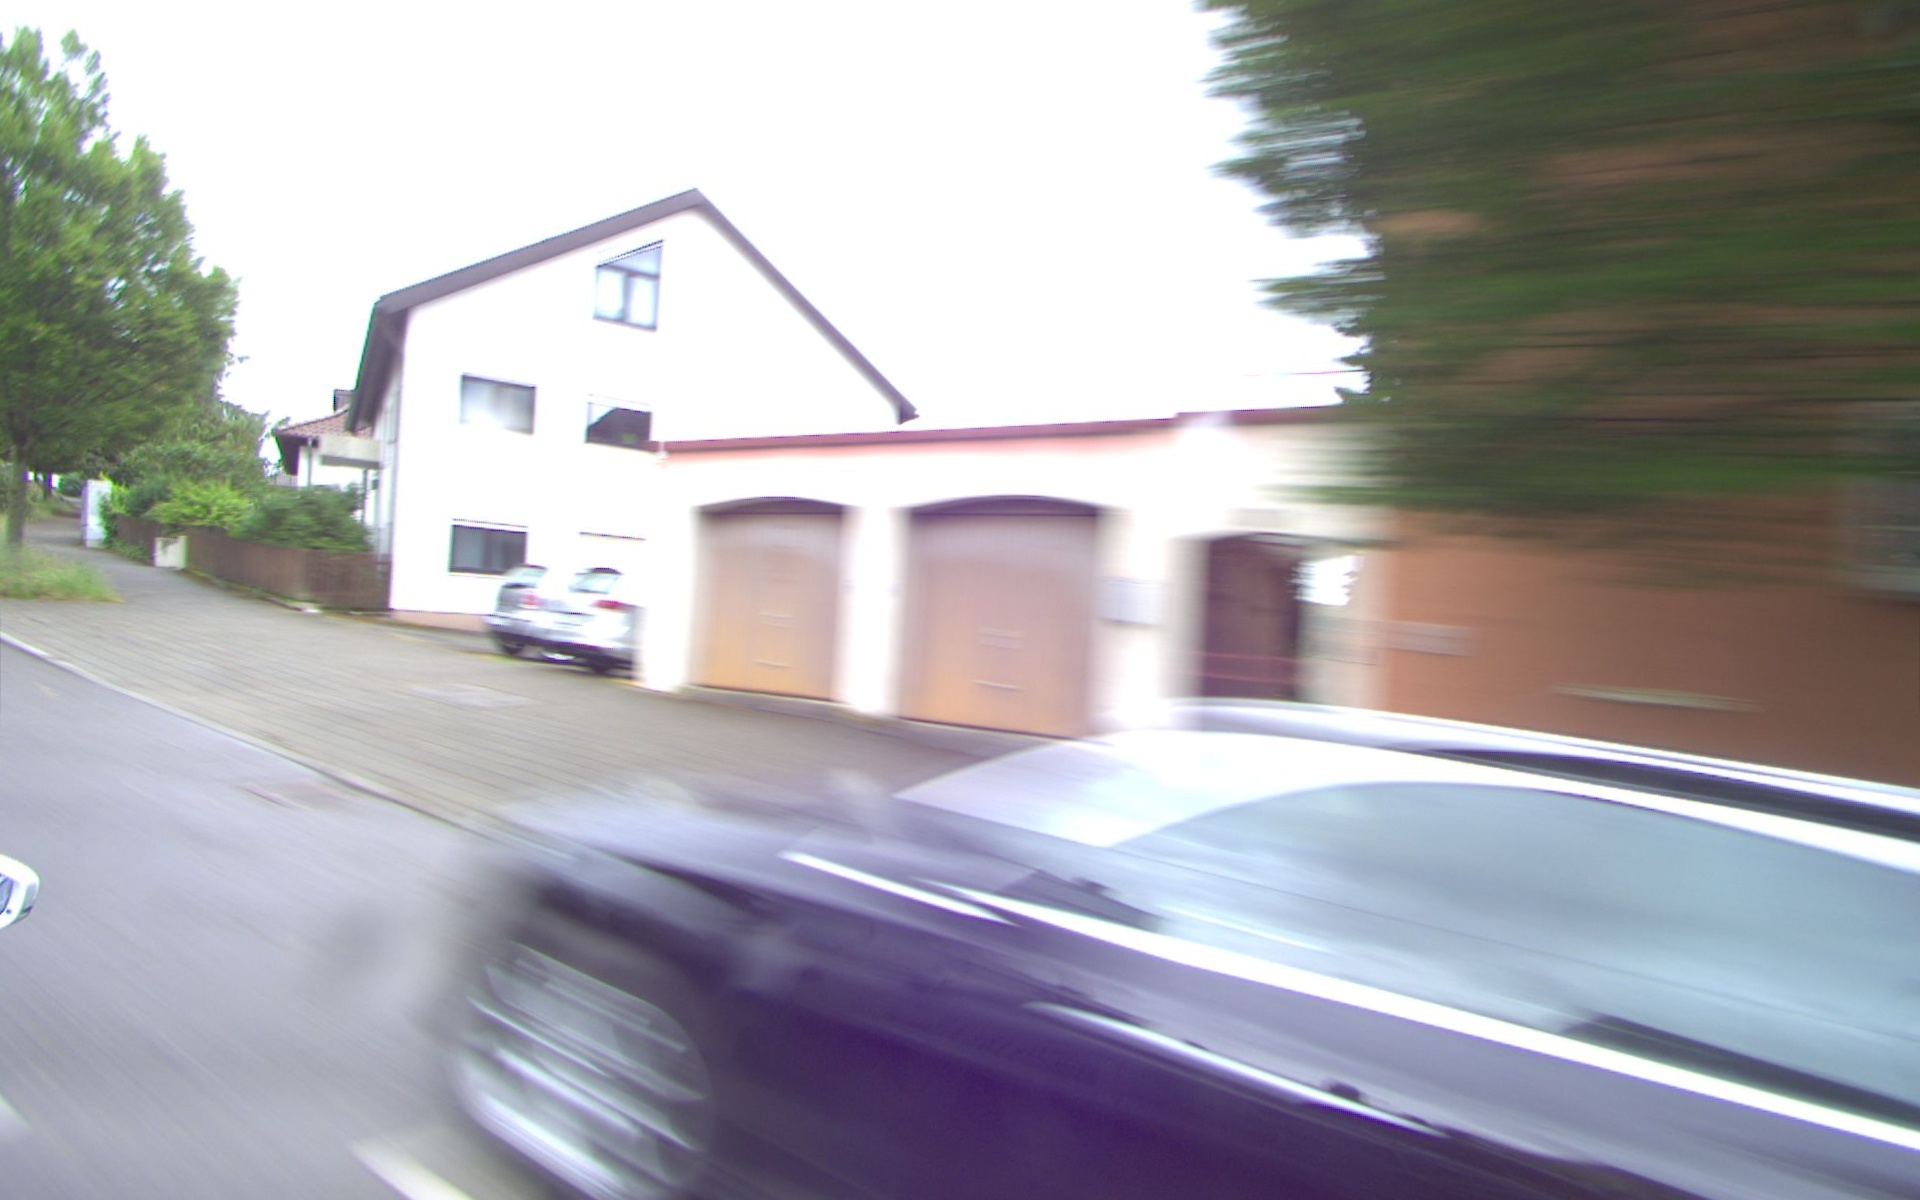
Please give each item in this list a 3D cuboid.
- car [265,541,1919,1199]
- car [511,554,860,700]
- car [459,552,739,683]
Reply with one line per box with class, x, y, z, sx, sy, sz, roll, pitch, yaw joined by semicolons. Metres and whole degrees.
car;0.758;0.927;2.409;4.969;1.485;1.867;7;-3;29
car;-3.658;0.451;14.098;1.908;1.481;4.304;4;-5;39
car;-5.615;0.330;15.996;1.754;1.480;3.681;5;-5;40
